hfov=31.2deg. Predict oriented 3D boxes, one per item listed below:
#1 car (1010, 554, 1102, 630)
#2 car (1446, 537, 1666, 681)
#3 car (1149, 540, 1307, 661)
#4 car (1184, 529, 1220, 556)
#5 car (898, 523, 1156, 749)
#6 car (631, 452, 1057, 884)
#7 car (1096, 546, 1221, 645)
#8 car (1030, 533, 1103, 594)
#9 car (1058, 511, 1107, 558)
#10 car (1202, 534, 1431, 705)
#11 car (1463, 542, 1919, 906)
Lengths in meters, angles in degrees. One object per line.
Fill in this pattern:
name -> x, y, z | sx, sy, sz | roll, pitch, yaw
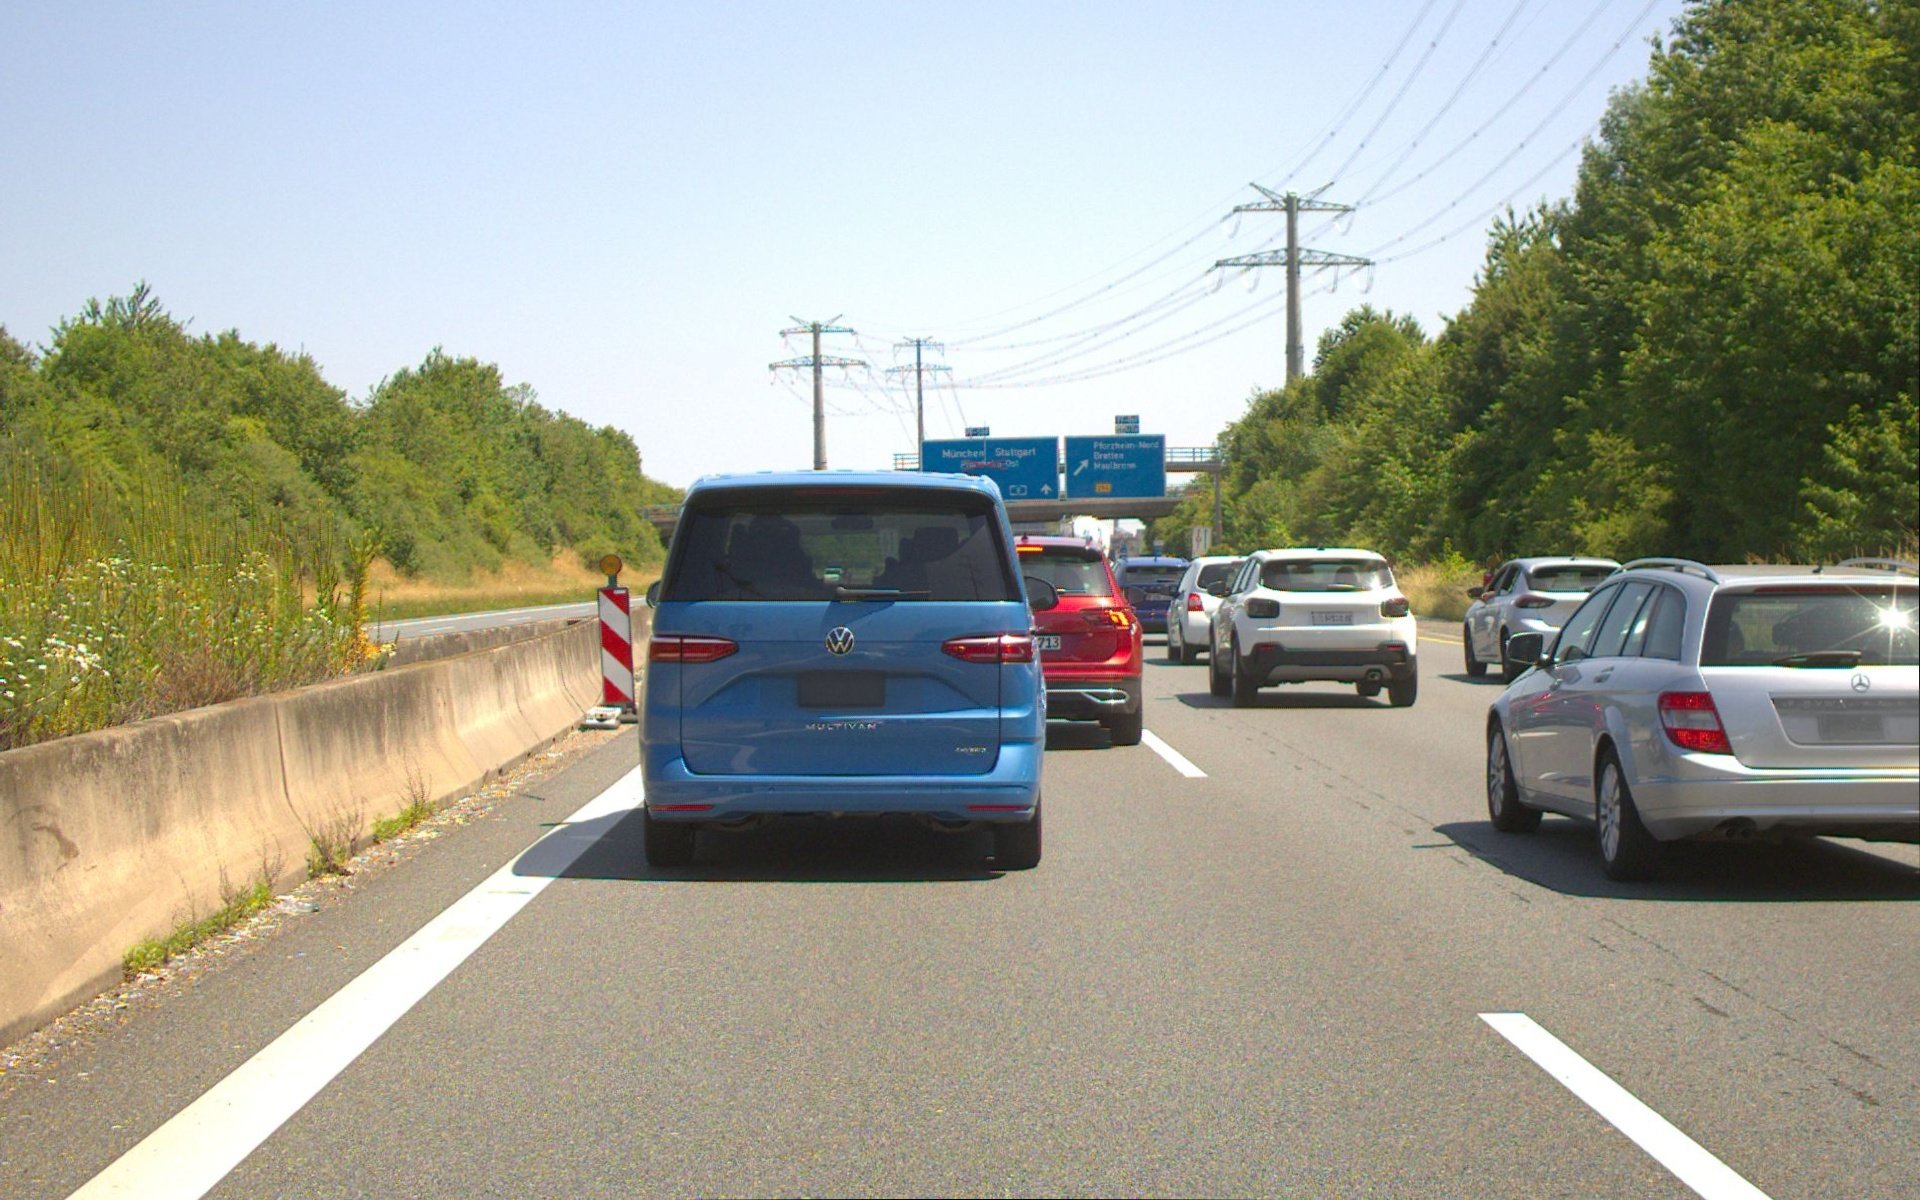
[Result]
car -> 2.049, -0.189, 74.331 | 1.797, 1.588, 4.227 | 1, 1, -1
car -> 6.991, 0.081, 40.710 | 1.797, 1.588, 4.227 | 1, 1, -1
car -> 3.675, -0.016, 47.690 | 1.797, 1.588, 4.227 | 1, 1, -1
car -> 15.497, -3.675, 220.435 | 1.874, 1.665, 4.360 | 1, 1, -1
car -> 0.460, 0.245, 27.869 | 1.874, 1.665, 4.360 | 1, 1, -1
car -> -0.570, 0.282, 17.519 | 1.874, 1.905, 4.360 | 1, 1, -1
car -> 3.318, -0.097, 58.044 | 1.797, 1.588, 4.227 | 1, 1, -1
car -> 2.892, -0.998, 93.945 | 1.797, 1.588, 4.227 | 1, 1, -1
car -> 6.493, -3.467, 183.071 | 2.377, 2.420, 4.227 | 1, 1, -1
car -> 3.519, 0.164, 34.588 | 1.797, 1.588, 4.227 | 1, 1, -1
car -> 3.699, 0.503, 16.632 | 1.770, 1.512, 4.360 | 1, 1, -1
